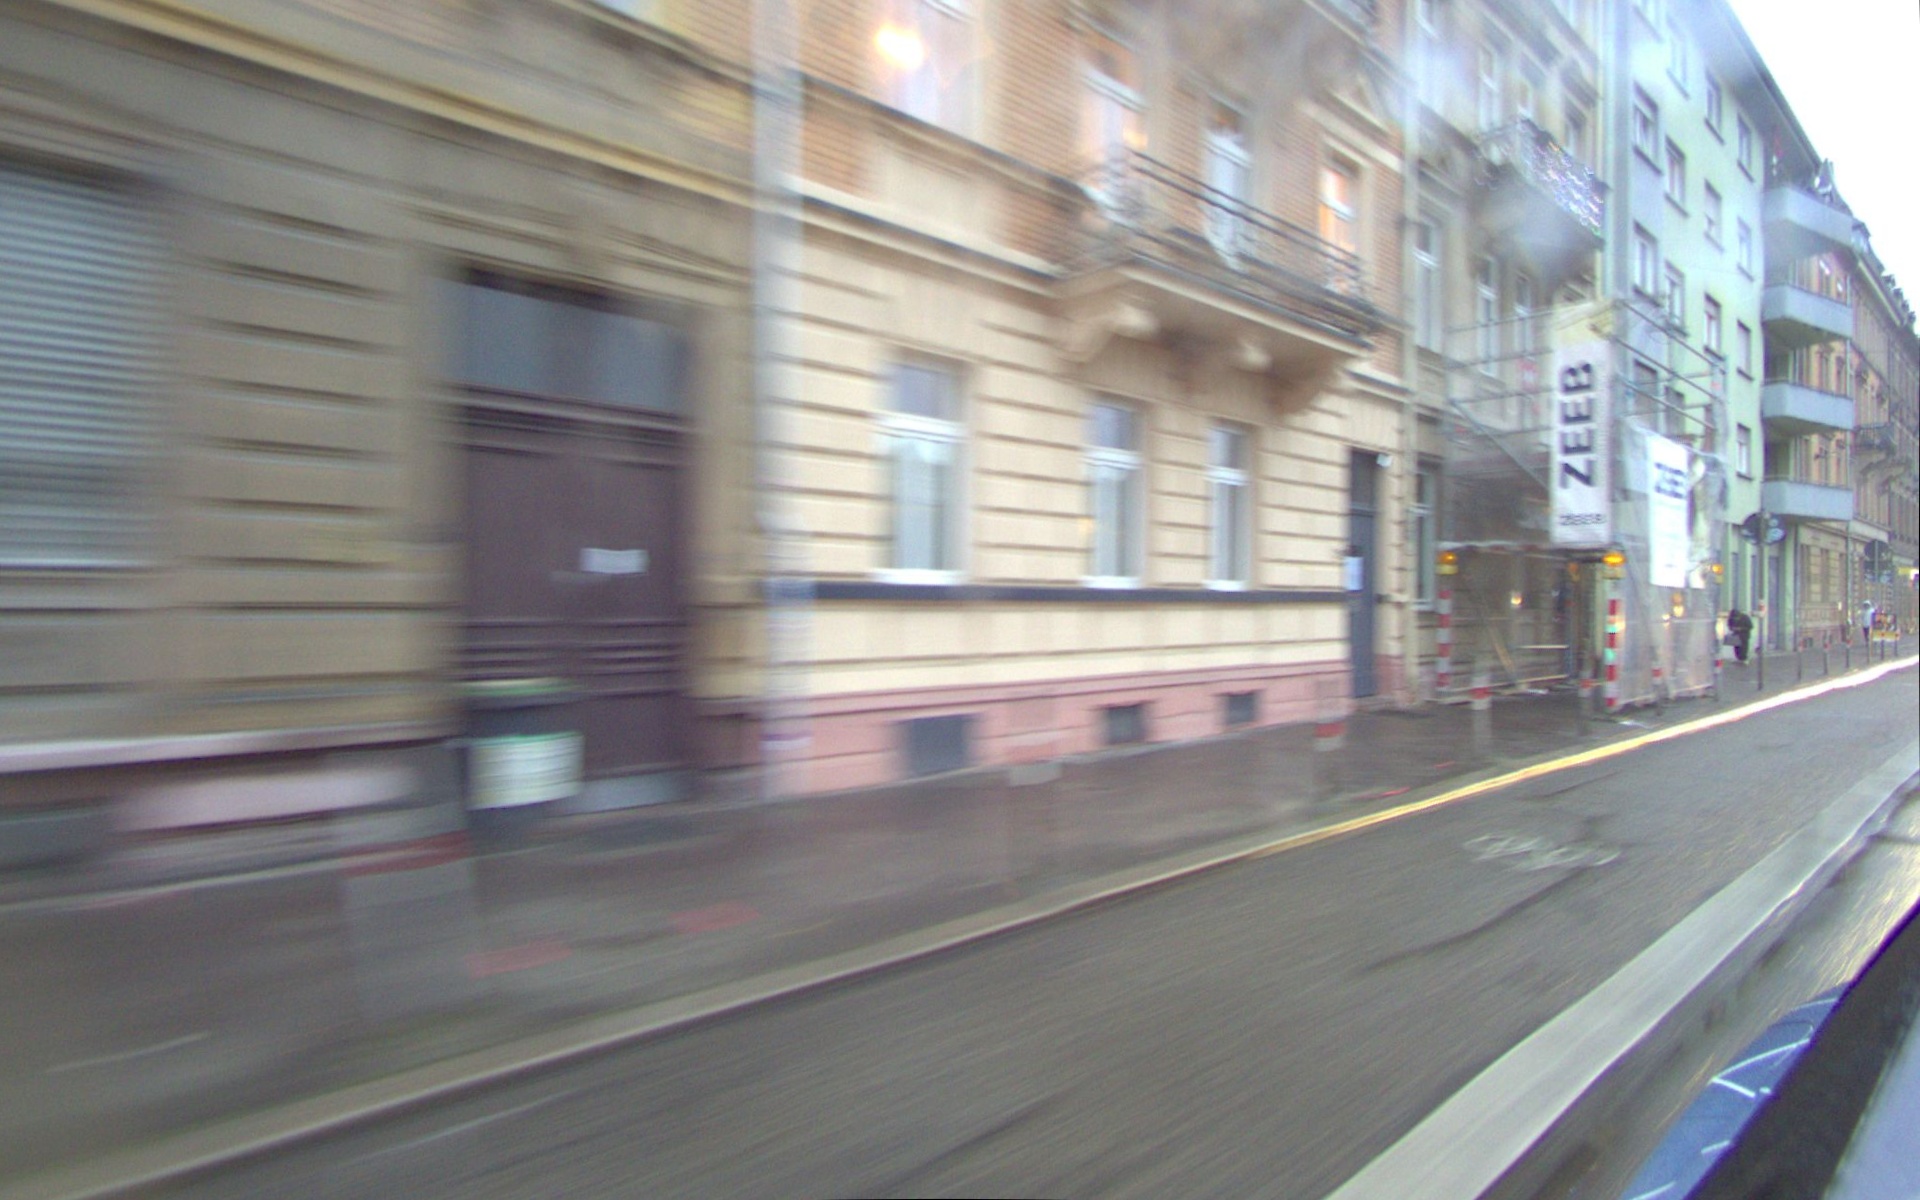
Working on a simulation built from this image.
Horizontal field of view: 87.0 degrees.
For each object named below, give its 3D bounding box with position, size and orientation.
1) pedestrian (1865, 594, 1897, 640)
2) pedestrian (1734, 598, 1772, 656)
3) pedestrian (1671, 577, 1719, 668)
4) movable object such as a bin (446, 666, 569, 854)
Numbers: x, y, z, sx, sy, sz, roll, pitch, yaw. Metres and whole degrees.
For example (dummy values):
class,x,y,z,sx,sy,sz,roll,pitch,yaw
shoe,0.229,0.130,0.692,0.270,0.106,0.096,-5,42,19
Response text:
class,x,y,z,sx,sy,sz,roll,pitch,yaw
pedestrian,32.931,0.607,36.185,0.729,1.617,0.787,0,0,-42
pedestrian,19.229,0.643,24.537,0.716,1.394,0.601,0,-1,-41
pedestrian,15.170,0.454,20.894,0.593,1.841,0.770,-1,0,22
movable object such as a bin,-2.544,0.864,5.691,0.499,0.943,0.507,0,-1,-42
